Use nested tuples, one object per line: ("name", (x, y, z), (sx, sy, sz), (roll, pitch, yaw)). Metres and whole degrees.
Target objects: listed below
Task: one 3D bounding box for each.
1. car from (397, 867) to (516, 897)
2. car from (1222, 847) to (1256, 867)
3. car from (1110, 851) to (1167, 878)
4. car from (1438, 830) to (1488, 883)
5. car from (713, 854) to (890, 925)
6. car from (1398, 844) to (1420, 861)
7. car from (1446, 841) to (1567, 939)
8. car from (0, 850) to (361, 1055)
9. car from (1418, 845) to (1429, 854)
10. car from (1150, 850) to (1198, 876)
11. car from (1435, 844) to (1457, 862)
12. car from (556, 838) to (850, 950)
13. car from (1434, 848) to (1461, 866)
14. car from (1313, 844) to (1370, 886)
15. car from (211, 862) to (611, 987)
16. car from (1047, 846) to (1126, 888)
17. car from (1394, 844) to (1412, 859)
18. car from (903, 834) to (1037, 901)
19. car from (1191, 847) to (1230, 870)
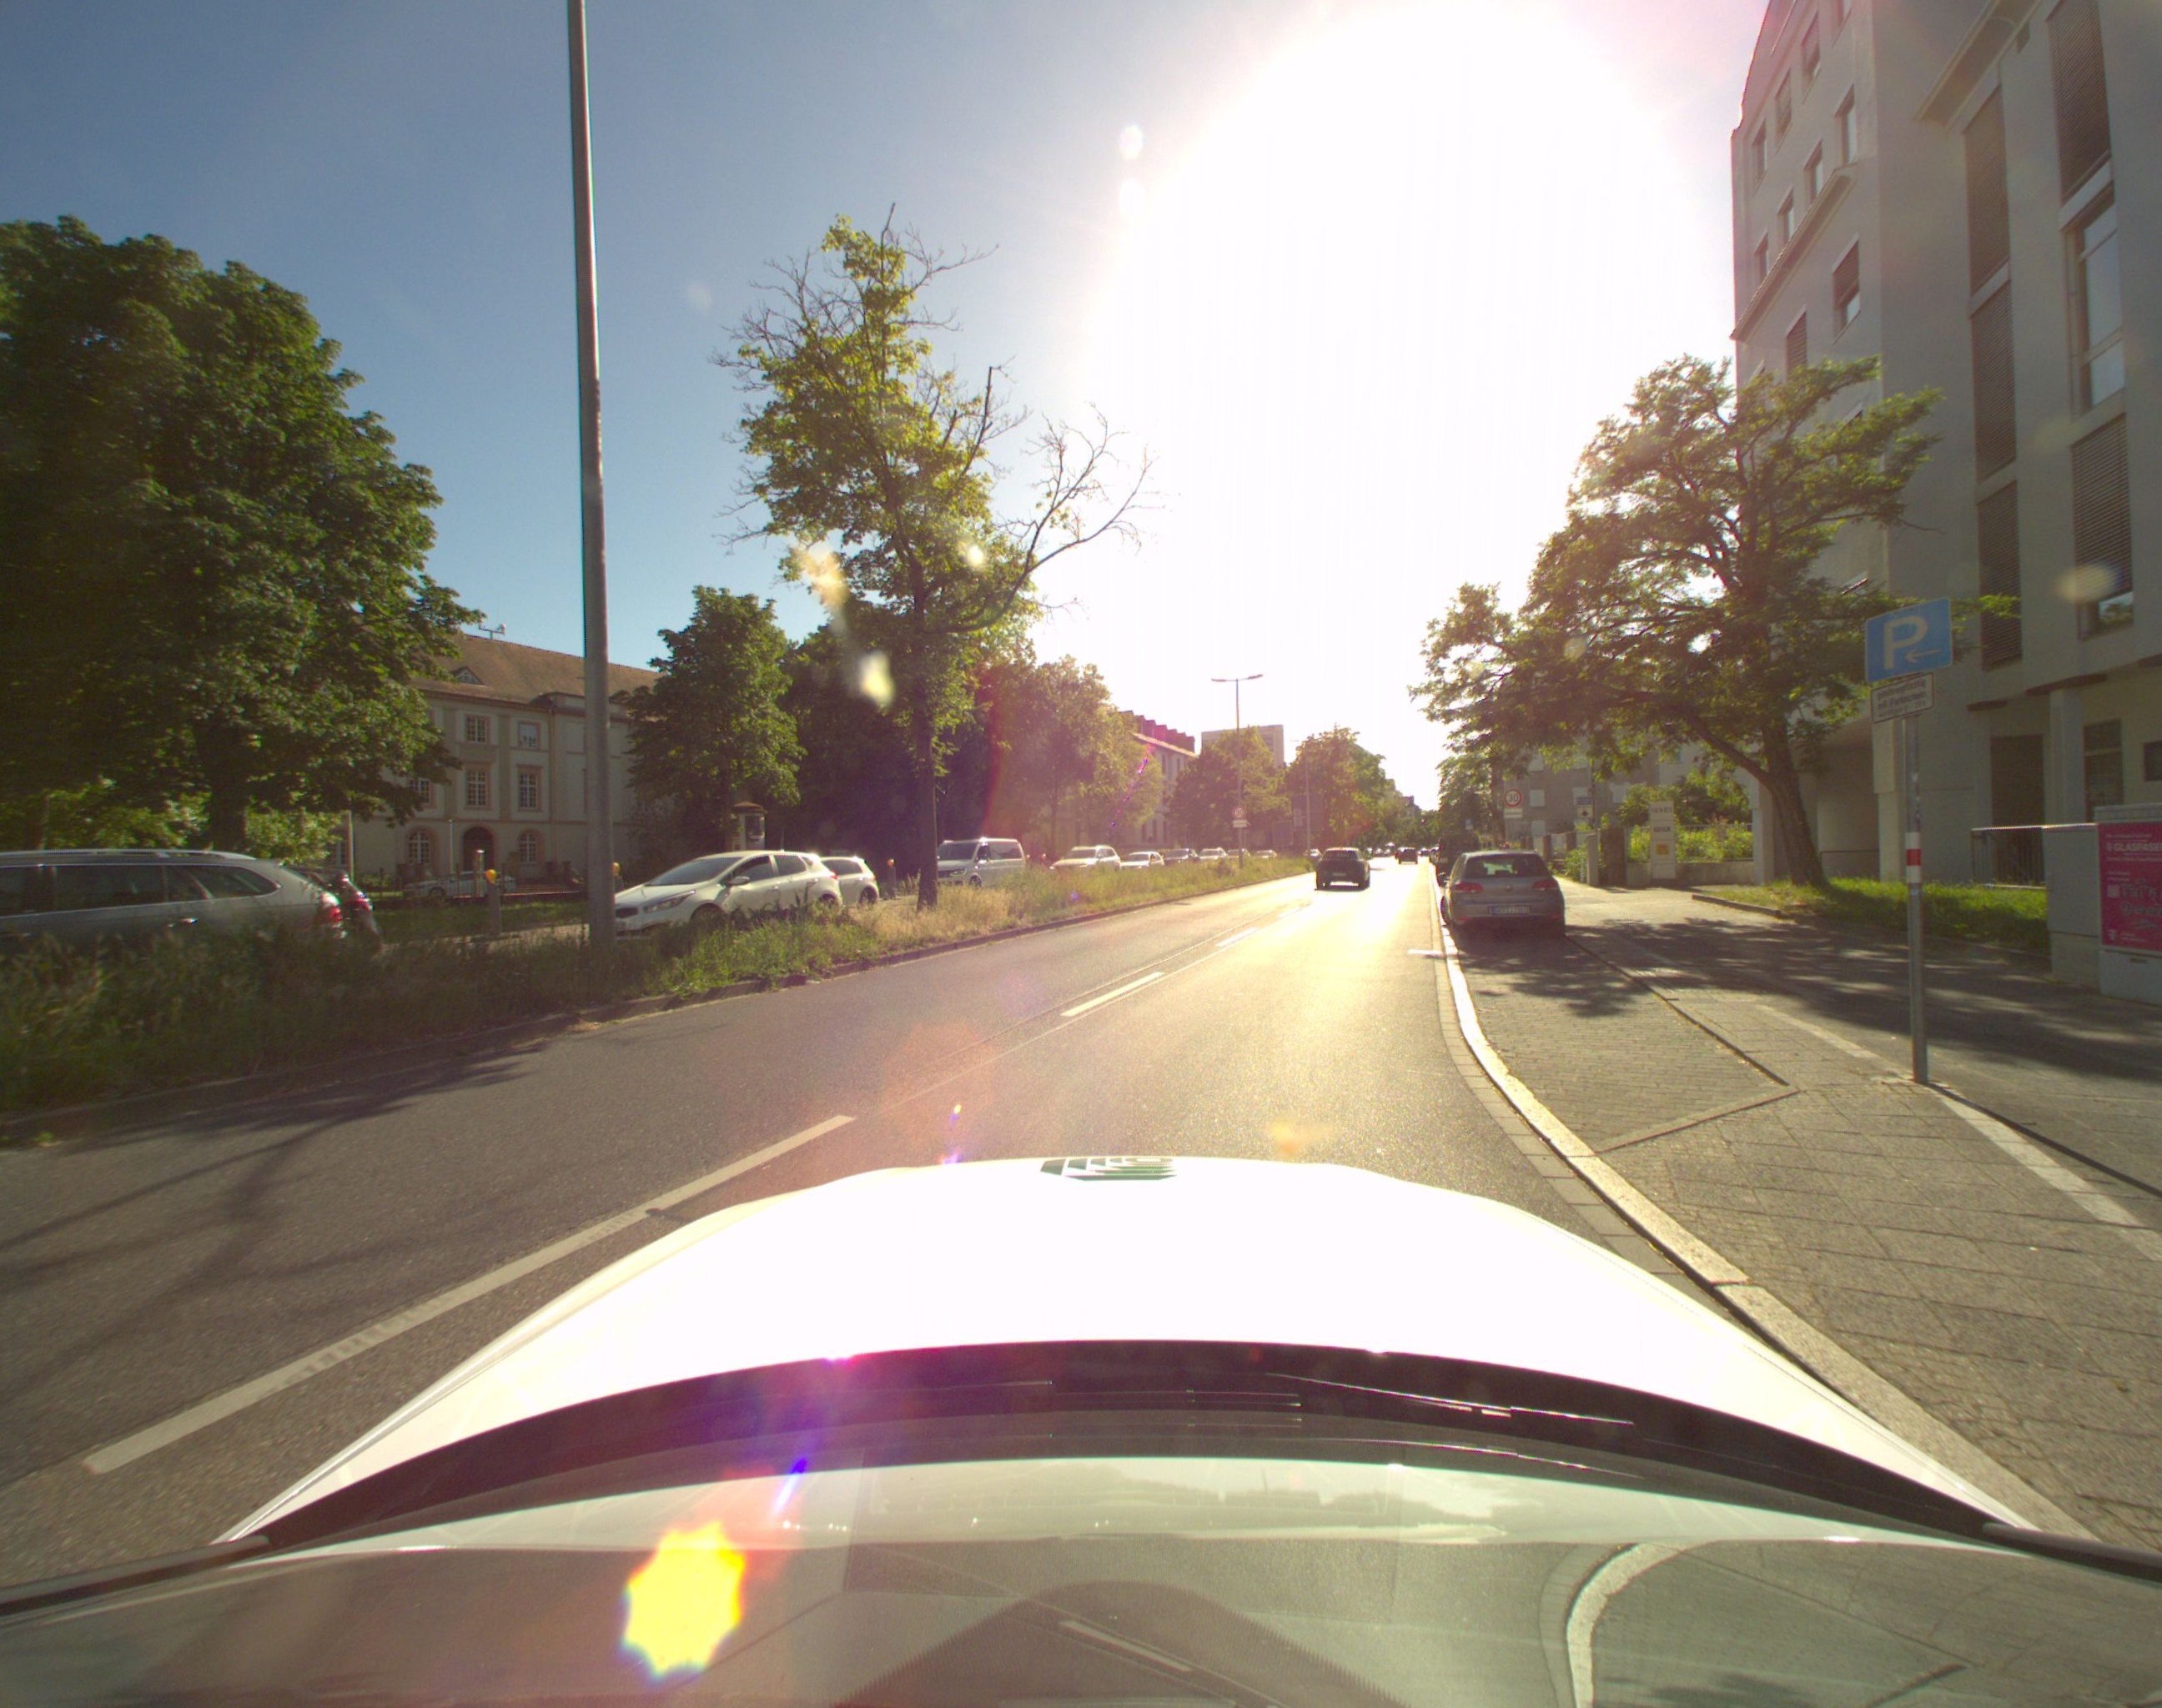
("car", (-32.909, 1.515, 43.081), (1.627, 1.492, 4.710), (0, -3, 23))
("car", (12.525, 0.274, 64.337), (1.780, 1.519, 4.281), (0, -1, 23))
("car", (3.118, 0.534, 43.256), (1.780, 1.351, 4.281), (-1, 0, 22))
("car", (15.921, 0.093, 34.075), (1.645, 2.014, 4.802), (-3, -1, 23))
("car", (-6.629, 0.776, 19.825), (1.780, 1.519, 4.101), (-1, 0, 22))
("car", (30.485, -0.138, 75.603), (1.776, 1.520, 3.871), (0, 1, 23))
("car", (7.687, 0.556, 15.018), (1.623, 1.448, 4.179), (-2, 1, 23))
("car", (-8.896, 0.745, 6.482), (1.780, 1.519, 4.387), (0, 1, 22))
("car", (63.033, -0.837, 149.906), (1.903, 1.640, 4.022), (-2, 0, 23))
("car", (5.796, 0.520, 50.161), (1.780, 1.519, 4.468), (-1, 0, 22))
("car", (32.048, -0.099, 71.585), (1.594, 1.446, 3.678), (-5, -1, 22))
("car", (-5.874, 0.542, 13.289), (1.780, 1.519, 4.228), (-1, 0, 22))
("car", (28.020, 0.238, 62.300), (1.653, 1.182, 3.922), (-5, -1, 22))
("car", (10.177, 0.379, 31.655), (1.878, 1.519, 4.021), (1, 1, 21))
("car", (-9.805, 0.894, 12.428), (1.780, 1.519, 4.370), (0, 0, 22))
("car", (0.347, 0.548, 36.654), (1.780, 1.743, 5.059), (-1, 0, 22))
("car", (40.388, -0.343, 102.096), (1.944, 1.882, 4.021), (-1, 0, 22))
("car", (-3.588, 0.419, 27.502), (2.213, 2.028, 5.044), (-1, 0, 22))
("car", (9.270, 0.289, 58.008), (1.780, 1.519, 4.281), (-1, 0, 22))
